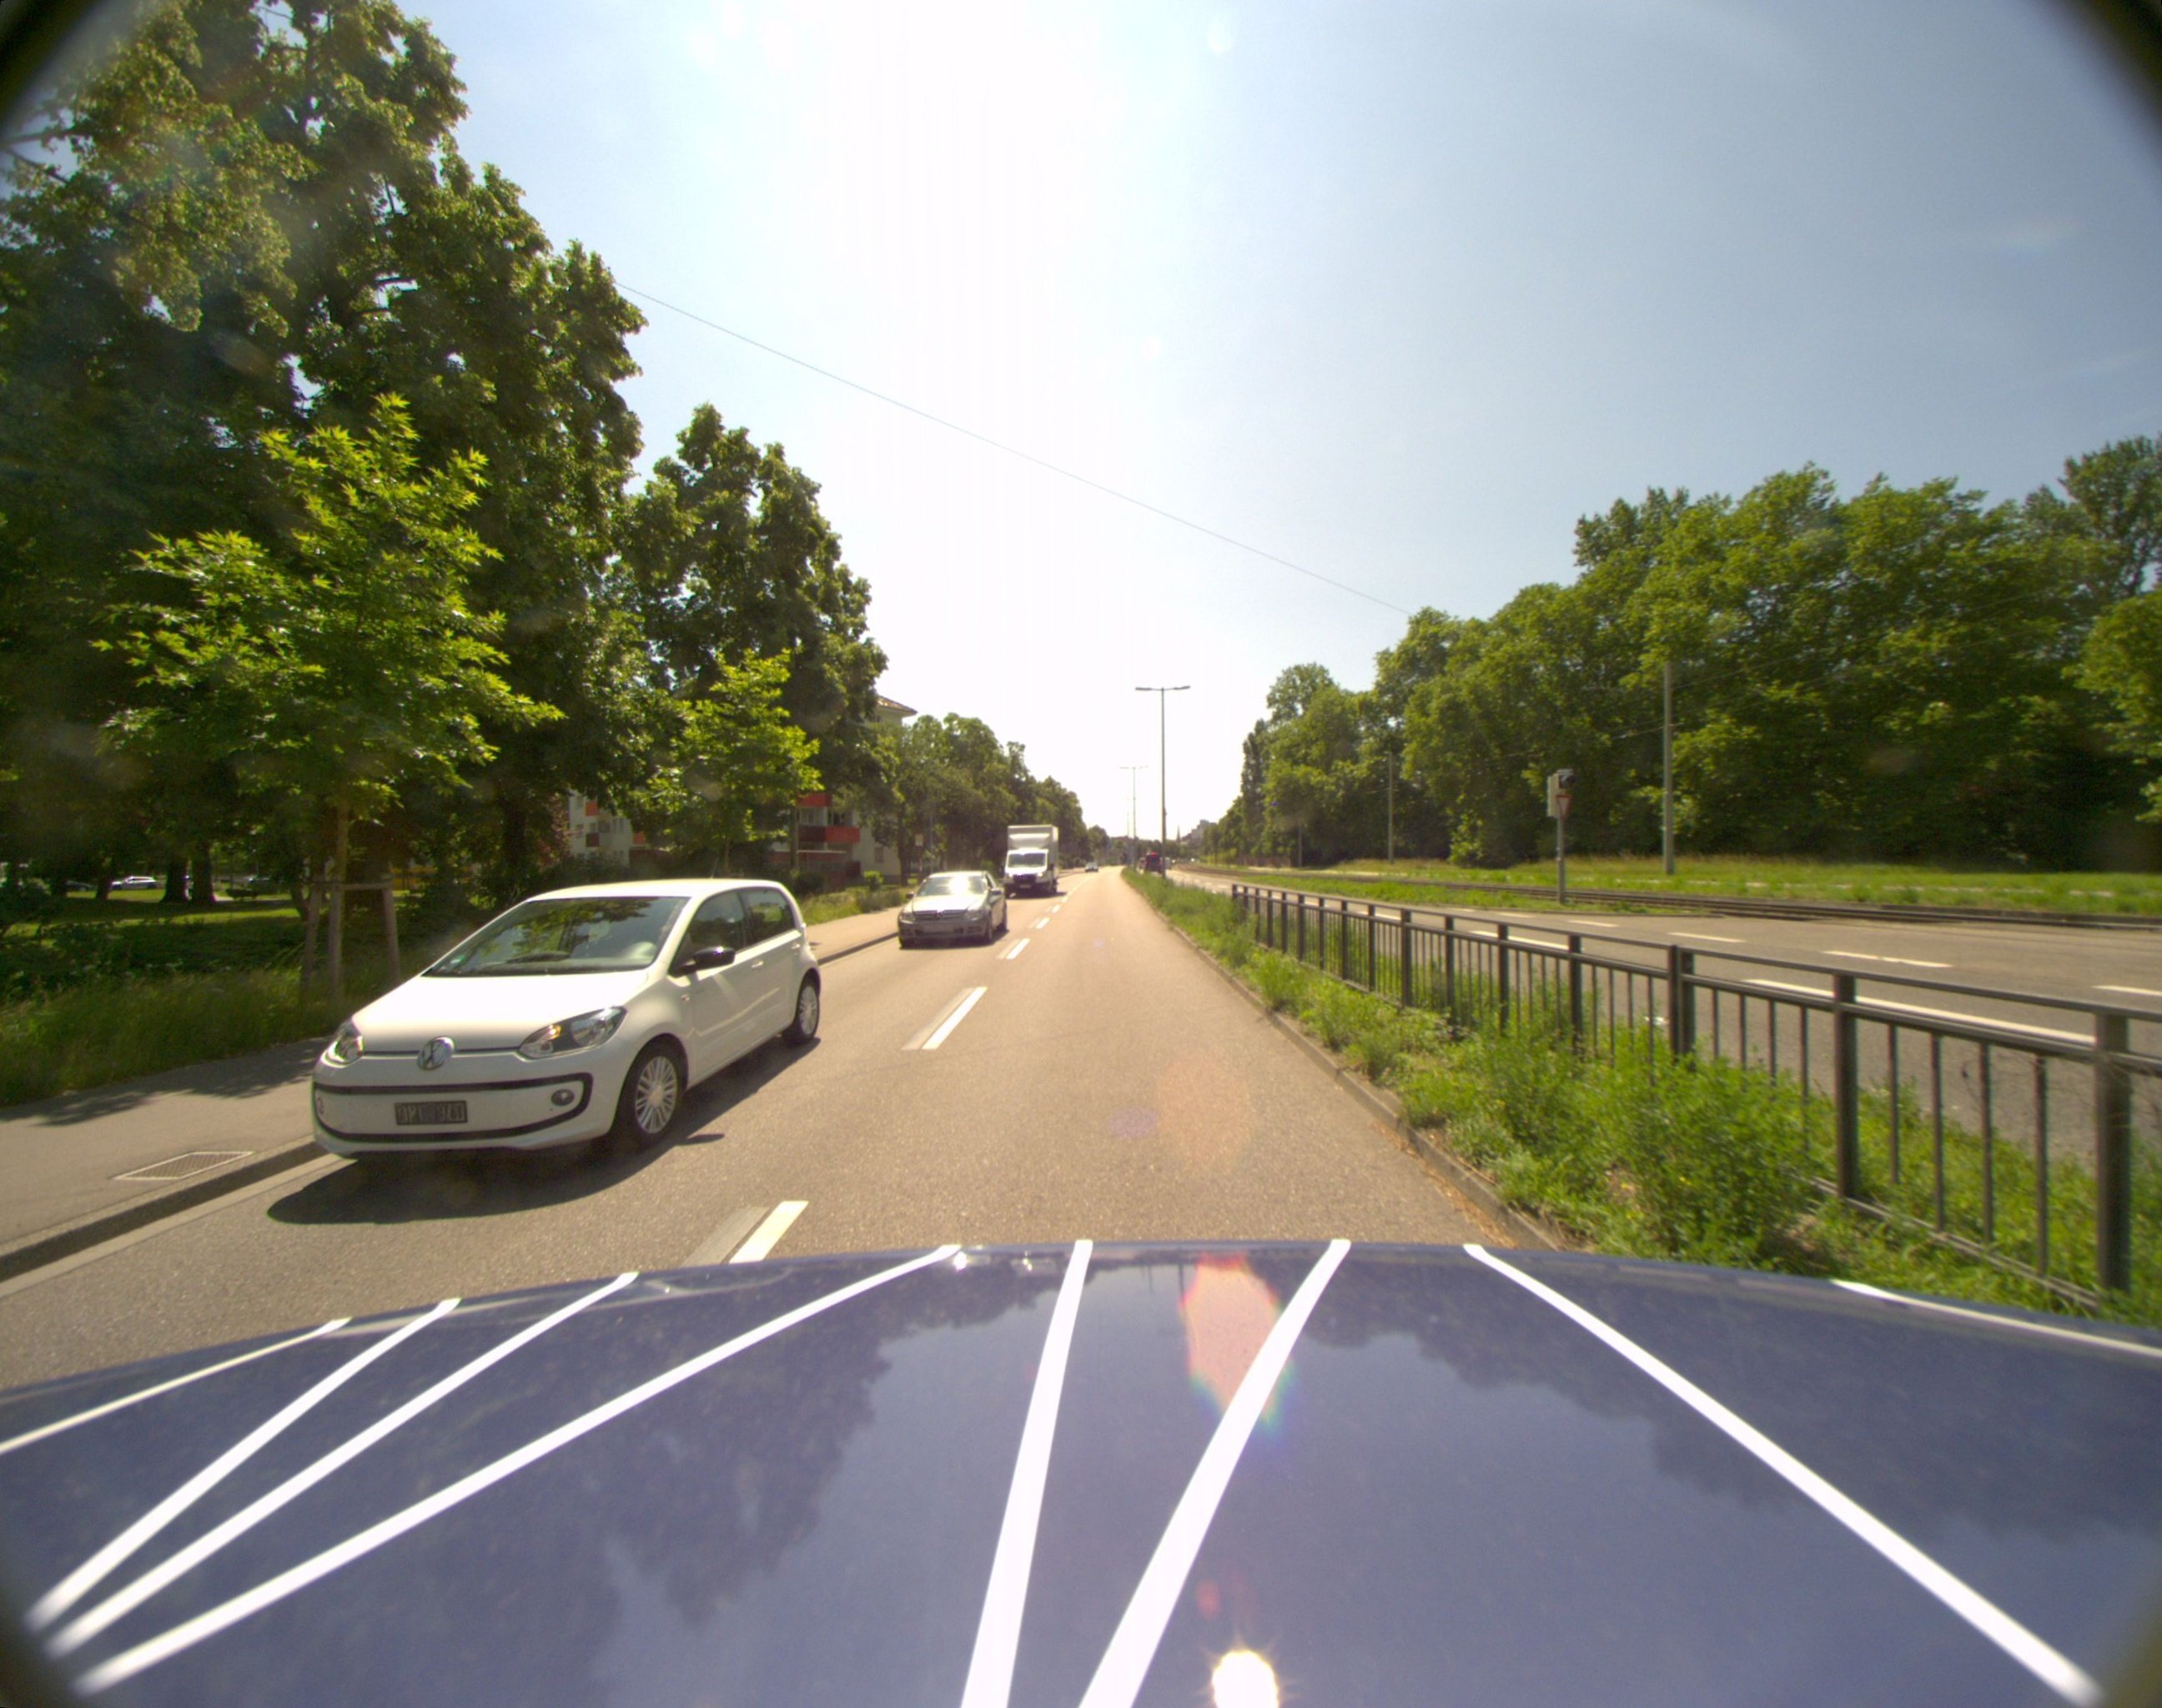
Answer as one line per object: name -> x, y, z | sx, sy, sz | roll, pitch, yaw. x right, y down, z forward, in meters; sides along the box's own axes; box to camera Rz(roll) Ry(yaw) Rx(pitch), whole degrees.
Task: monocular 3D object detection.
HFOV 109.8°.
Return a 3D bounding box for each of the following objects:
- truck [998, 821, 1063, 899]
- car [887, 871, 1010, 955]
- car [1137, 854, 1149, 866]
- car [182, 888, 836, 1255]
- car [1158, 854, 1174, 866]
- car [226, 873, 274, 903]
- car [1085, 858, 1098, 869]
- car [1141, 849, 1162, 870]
truck -> -2.258, 0.257, 36.872 | 2.294, 3.259, 8.312 | -2, 0, 1
car -> -2.646, 1.139, 16.093 | 1.904, 1.451, 3.971 | -3, -1, -1
car -> 10.072, 0.980, 122.931 | 1.833, 1.895, 5.569 | 0, 0, 6
car -> -3.215, 1.075, 5.378 | 1.663, 1.441, 3.854 | -2, 0, 0
car -> 13.862, 1.012, 124.283 | 1.998, 2.001, 5.030 | 0, 0, 1
car -> -51.811, 2.104, 47.425 | 3.915, 1.714, 1.880 | -1, 0, 44
car -> 1.531, 1.372, 110.661 | 1.829, 1.556, 4.000 | -1, 0, 1
car -> 8.197, 0.643, 88.670 | 1.998, 2.352, 5.373 | 0, 0, 1
